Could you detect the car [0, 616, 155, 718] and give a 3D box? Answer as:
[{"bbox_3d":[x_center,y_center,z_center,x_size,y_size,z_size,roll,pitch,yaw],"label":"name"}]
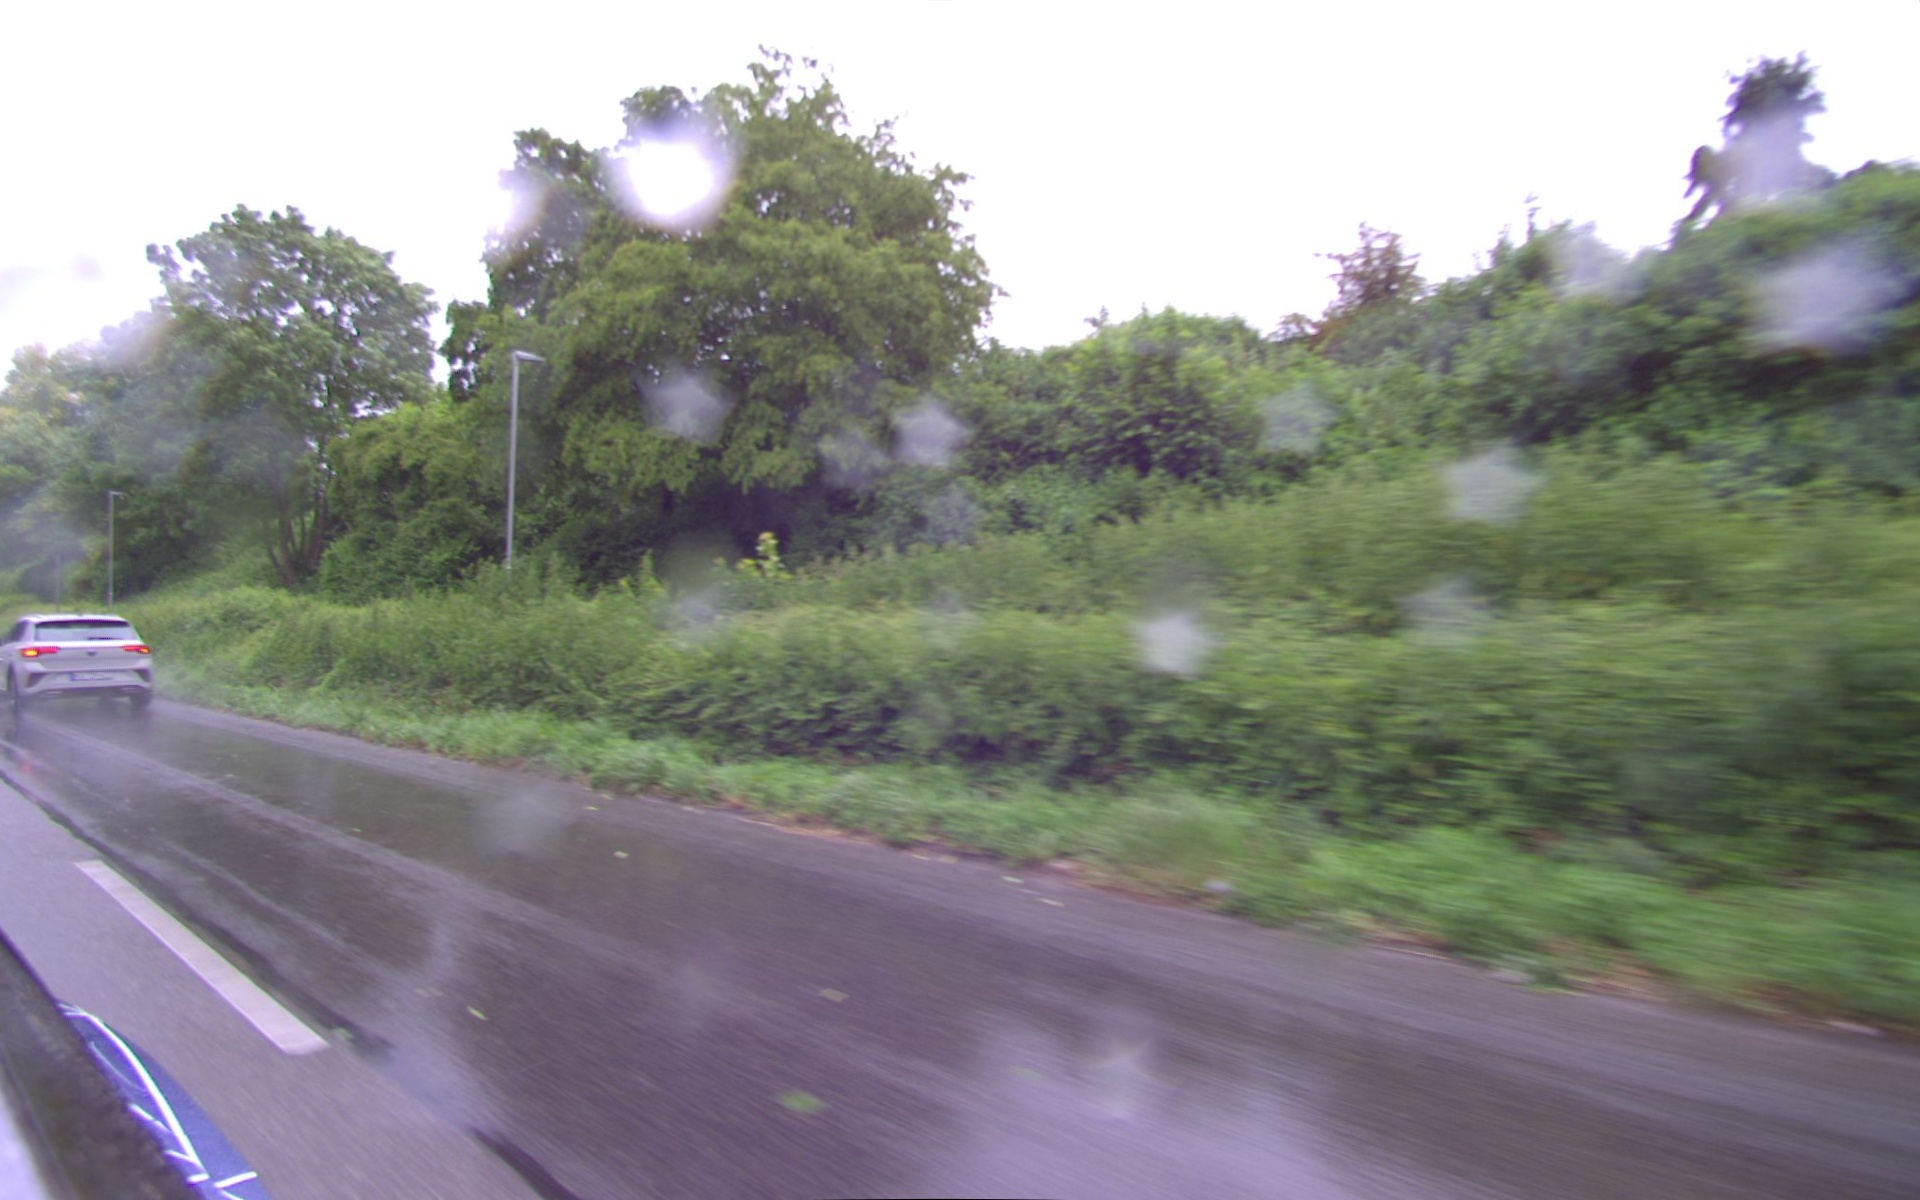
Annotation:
[{"bbox_3d":[-15.068,1.064,16.980,3.998,1.516,1.763,-2,-3,41],"label":"car"}]
